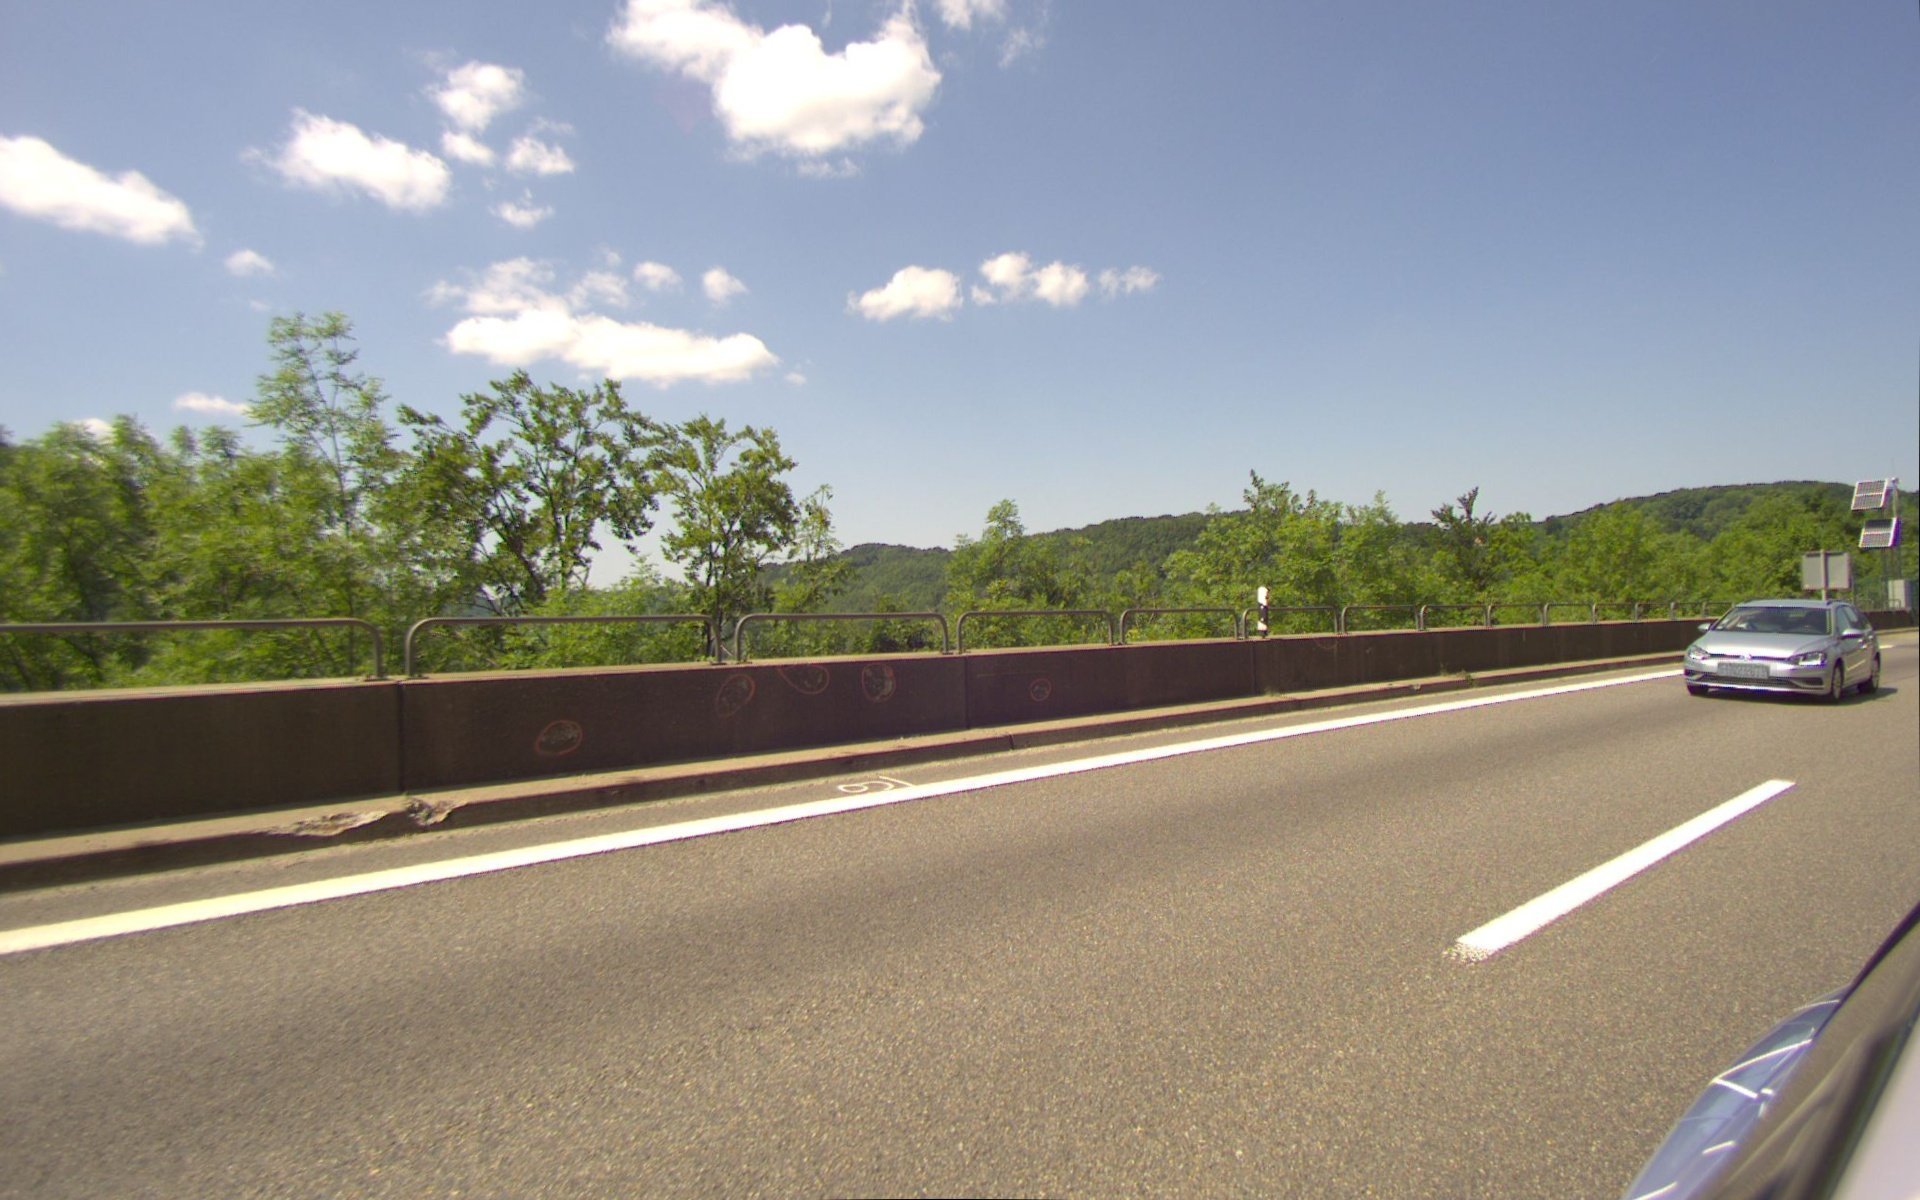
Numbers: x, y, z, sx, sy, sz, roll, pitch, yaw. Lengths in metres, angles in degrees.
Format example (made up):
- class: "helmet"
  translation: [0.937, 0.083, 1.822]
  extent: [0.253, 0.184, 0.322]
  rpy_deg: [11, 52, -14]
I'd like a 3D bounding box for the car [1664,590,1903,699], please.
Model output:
- class: "car"
  translation: [12.730, 0.569, 15.567]
  extent: [4.215, 1.395, 1.973]
  rpy_deg: [-1, 2, -38]
